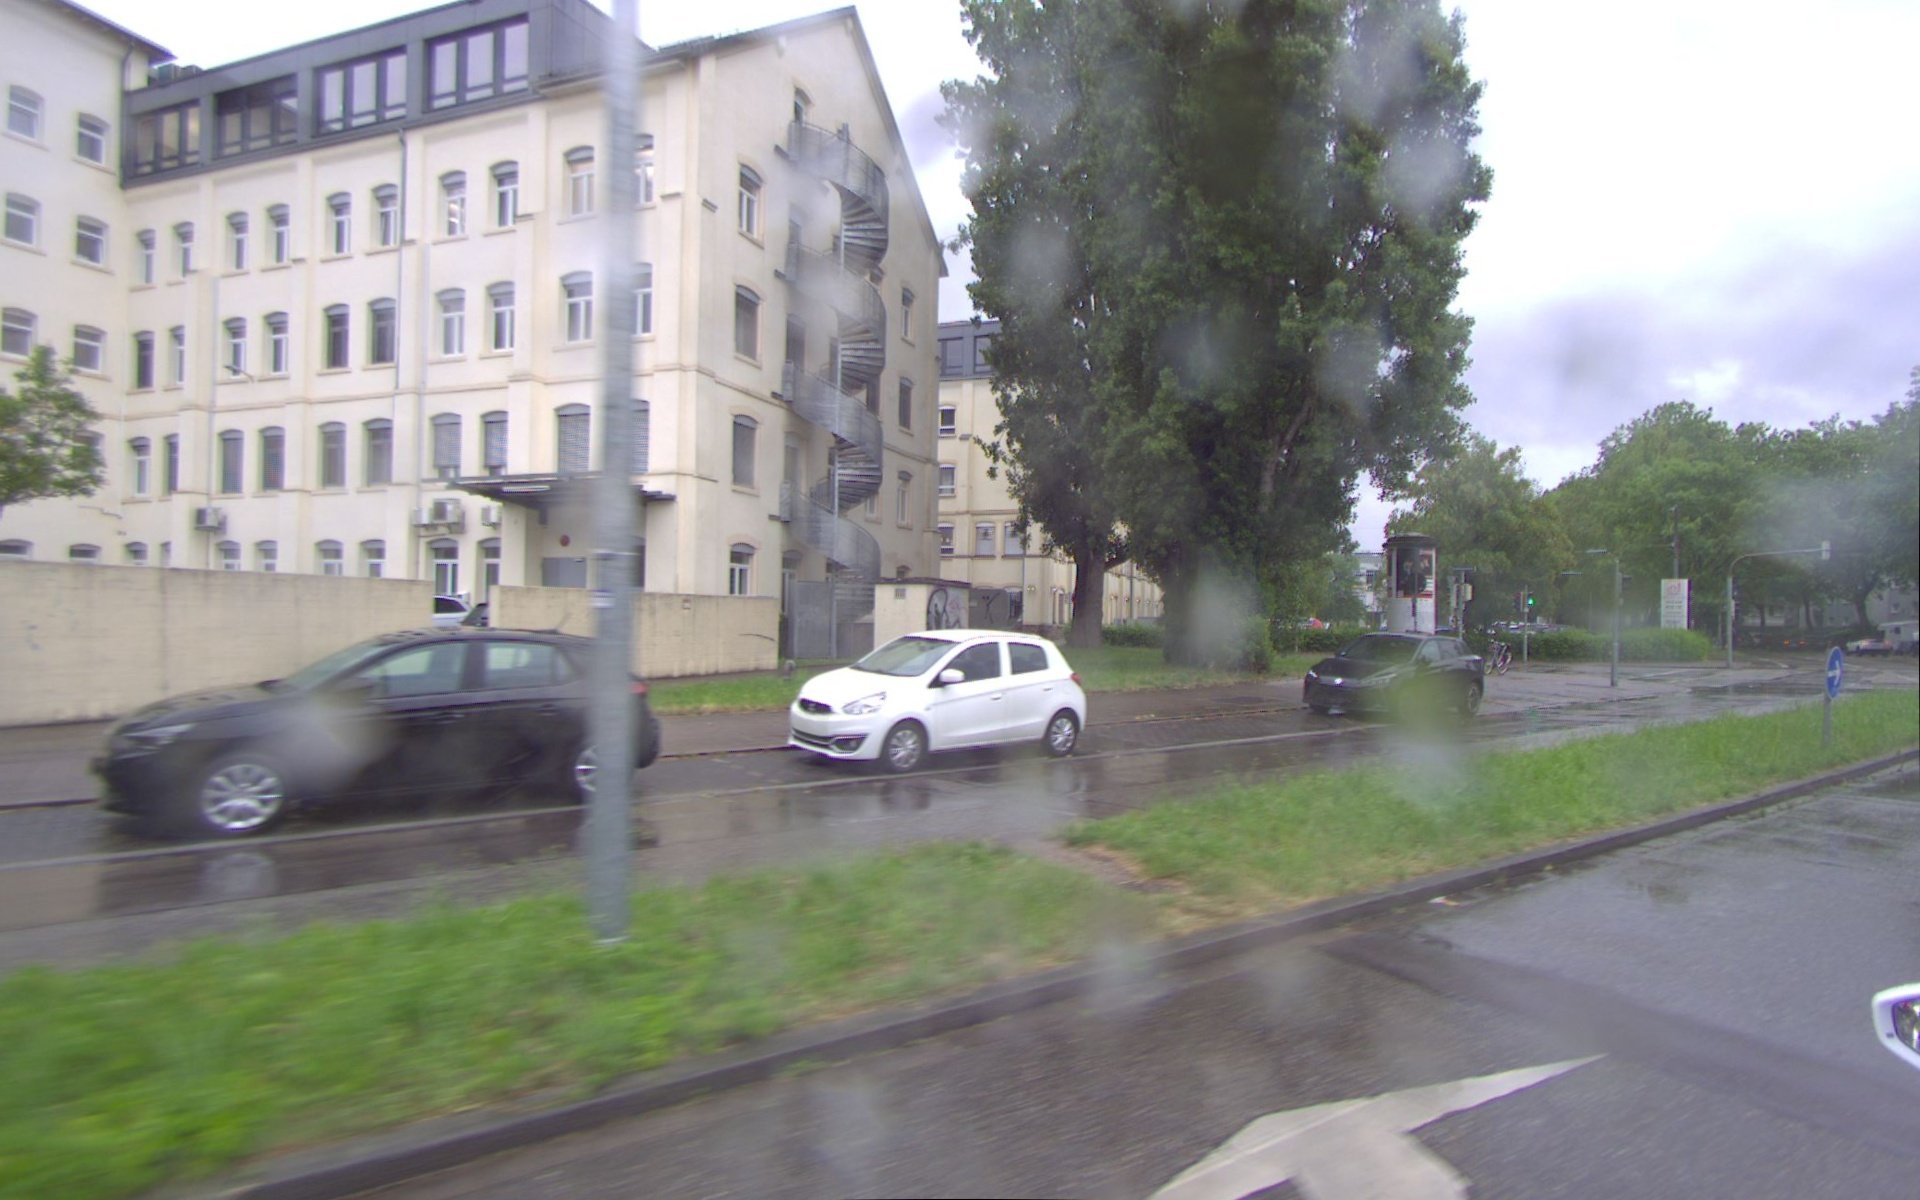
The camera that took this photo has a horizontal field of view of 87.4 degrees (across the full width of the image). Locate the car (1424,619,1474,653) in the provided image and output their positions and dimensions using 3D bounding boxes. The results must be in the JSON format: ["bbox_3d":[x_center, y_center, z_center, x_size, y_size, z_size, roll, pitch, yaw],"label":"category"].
[{"bbox_3d":[25.653,1.882,52.820,1.747,1.708,4.026,0,-1,17],"label":"car"}]

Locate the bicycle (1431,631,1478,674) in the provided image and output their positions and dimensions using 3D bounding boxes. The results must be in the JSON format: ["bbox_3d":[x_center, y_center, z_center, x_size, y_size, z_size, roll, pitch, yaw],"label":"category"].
[{"bbox_3d":[14.505,1.527,29.424,1.613,1.202,0.690,2,-1,-43],"label":"bicycle"}]

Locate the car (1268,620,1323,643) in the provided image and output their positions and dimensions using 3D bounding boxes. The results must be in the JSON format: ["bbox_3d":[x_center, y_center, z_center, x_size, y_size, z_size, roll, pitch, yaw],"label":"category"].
[{"bbox_3d":[25.949,2.429,77.685,3.924,1.708,1.999,0,-1,24],"label":"car"}]

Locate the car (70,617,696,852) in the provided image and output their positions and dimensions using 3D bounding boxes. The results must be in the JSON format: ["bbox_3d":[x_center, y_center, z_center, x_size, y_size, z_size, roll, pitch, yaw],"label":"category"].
[{"bbox_3d":[-4.517,0.927,8.324,4.144,1.401,1.713,2,1,-39],"label":"car"}]

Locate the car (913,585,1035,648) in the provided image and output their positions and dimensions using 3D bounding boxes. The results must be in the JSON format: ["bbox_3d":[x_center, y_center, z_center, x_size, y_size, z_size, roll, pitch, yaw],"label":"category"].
[{"bbox_3d":[0.786,0.883,56.002,6.095,3.236,2.838,2,0,22],"label":"car"}]

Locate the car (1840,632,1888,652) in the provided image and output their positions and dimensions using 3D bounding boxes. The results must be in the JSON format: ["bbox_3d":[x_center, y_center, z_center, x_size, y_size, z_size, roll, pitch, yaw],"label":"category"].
[{"bbox_3d":[70.084,3.257,77.940,1.679,1.430,3.643,-1,-2,23],"label":"car"}]

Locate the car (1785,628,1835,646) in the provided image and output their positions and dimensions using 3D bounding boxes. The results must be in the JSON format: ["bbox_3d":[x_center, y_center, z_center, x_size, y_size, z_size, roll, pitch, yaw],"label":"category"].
[{"bbox_3d":[85.316,3.748,100.870,3.698,1.623,1.801,2,0,-6],"label":"car"}]

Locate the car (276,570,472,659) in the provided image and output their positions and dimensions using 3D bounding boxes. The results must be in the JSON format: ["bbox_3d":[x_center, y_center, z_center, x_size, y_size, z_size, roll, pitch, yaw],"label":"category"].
[{"bbox_3d":[-14.841,0.374,25.707,1.960,2.040,4.001,2,-1,19],"label":"car"}]

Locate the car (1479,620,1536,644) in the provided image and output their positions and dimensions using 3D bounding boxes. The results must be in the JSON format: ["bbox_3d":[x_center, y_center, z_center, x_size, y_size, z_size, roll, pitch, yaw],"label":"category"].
[{"bbox_3d":[46.500,2.687,85.395,3.921,1.857,1.854,2,0,21],"label":"car"}]

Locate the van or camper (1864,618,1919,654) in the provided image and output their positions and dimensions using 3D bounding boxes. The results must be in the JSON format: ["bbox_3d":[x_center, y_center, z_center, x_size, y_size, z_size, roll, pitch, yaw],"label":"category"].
[{"bbox_3d":[77.665,2.979,83.162,2.282,2.844,6.859,1,-1,25],"label":"van or camper"}]

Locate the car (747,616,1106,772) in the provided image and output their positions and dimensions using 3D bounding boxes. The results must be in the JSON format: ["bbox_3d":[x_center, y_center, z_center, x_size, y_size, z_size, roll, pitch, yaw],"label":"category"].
[{"bbox_3d":[-0.268,0.999,11.814,4.089,1.493,1.588,2,-1,-40],"label":"car"}]

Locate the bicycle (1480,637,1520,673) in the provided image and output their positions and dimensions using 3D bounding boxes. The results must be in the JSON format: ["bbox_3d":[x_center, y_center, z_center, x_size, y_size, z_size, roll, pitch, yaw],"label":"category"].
[{"bbox_3d":[17.035,1.718,31.680,1.783,1.091,0.550,2,-1,-43],"label":"bicycle"}]

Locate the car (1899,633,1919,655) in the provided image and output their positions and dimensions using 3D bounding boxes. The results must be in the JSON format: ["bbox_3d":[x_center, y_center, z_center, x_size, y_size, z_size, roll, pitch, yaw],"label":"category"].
[{"bbox_3d":[73.095,3.342,75.732,1.885,1.641,4.453,2,-2,22],"label":"car"}]

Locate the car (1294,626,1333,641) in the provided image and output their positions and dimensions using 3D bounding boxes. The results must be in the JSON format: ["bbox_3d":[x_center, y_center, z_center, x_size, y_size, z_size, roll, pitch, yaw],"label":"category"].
[{"bbox_3d":[38.584,3.661,109.513,3.922,1.580,1.999,0,-1,22],"label":"car"}]

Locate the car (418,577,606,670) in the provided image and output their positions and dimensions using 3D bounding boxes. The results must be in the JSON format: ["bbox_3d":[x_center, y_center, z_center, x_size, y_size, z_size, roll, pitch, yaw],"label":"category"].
[{"bbox_3d":[-10.863,0.555,24.676,1.960,2.040,4.001,2,-1,19],"label":"car"}]

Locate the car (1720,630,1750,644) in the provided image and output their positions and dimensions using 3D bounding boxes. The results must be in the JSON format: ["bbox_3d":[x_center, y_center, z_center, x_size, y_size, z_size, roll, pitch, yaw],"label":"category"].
[{"bbox_3d":[84.841,4.054,110.021,1.679,1.430,3.643,-1,-2,23],"label":"car"}]

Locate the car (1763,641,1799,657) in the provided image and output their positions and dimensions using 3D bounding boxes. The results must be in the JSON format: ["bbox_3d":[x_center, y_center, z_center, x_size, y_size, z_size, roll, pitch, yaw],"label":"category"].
[{"bbox_3d":[78.622,4.657,96.206,1.679,1.430,3.643,-1,-2,23],"label":"car"}]

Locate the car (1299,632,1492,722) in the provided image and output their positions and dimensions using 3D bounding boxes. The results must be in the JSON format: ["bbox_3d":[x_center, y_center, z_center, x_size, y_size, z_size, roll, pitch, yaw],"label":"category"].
[{"bbox_3d":[8.146,1.370,18.627,4.159,1.416,1.532,2,0,-39],"label":"car"}]
